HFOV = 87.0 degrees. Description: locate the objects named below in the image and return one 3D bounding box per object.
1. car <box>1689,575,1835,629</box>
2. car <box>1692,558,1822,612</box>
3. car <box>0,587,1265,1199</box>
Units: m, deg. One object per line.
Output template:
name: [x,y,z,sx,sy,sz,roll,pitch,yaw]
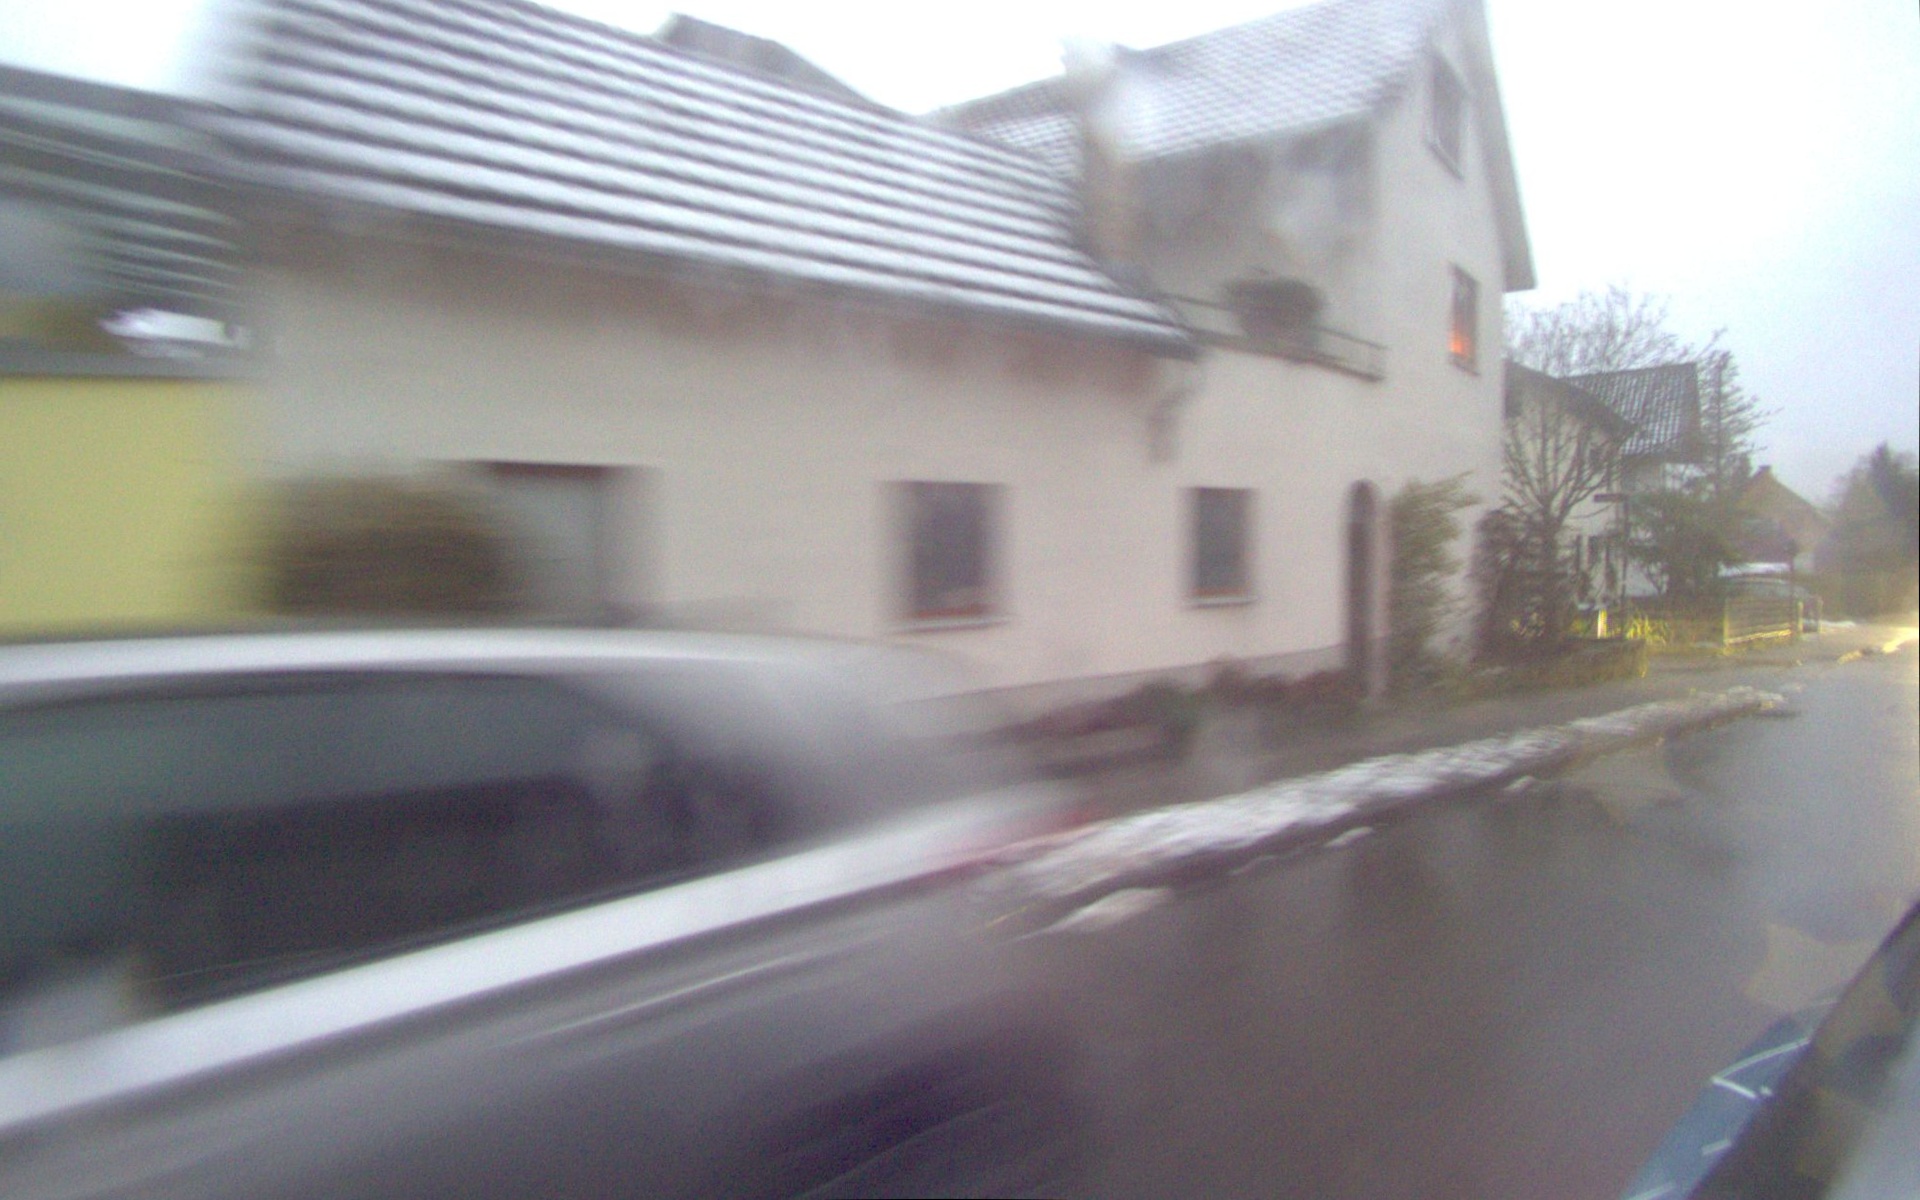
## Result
car: [28.431,0.031,35.979,3.981,1.816,1.971,1,1,40]
car: [31.698,-0.596,40.313,3.981,2.039,1.971,1,1,40]
car: [-1.655,0.724,1.518,4.539,1.457,1.794,-1,1,-38]
